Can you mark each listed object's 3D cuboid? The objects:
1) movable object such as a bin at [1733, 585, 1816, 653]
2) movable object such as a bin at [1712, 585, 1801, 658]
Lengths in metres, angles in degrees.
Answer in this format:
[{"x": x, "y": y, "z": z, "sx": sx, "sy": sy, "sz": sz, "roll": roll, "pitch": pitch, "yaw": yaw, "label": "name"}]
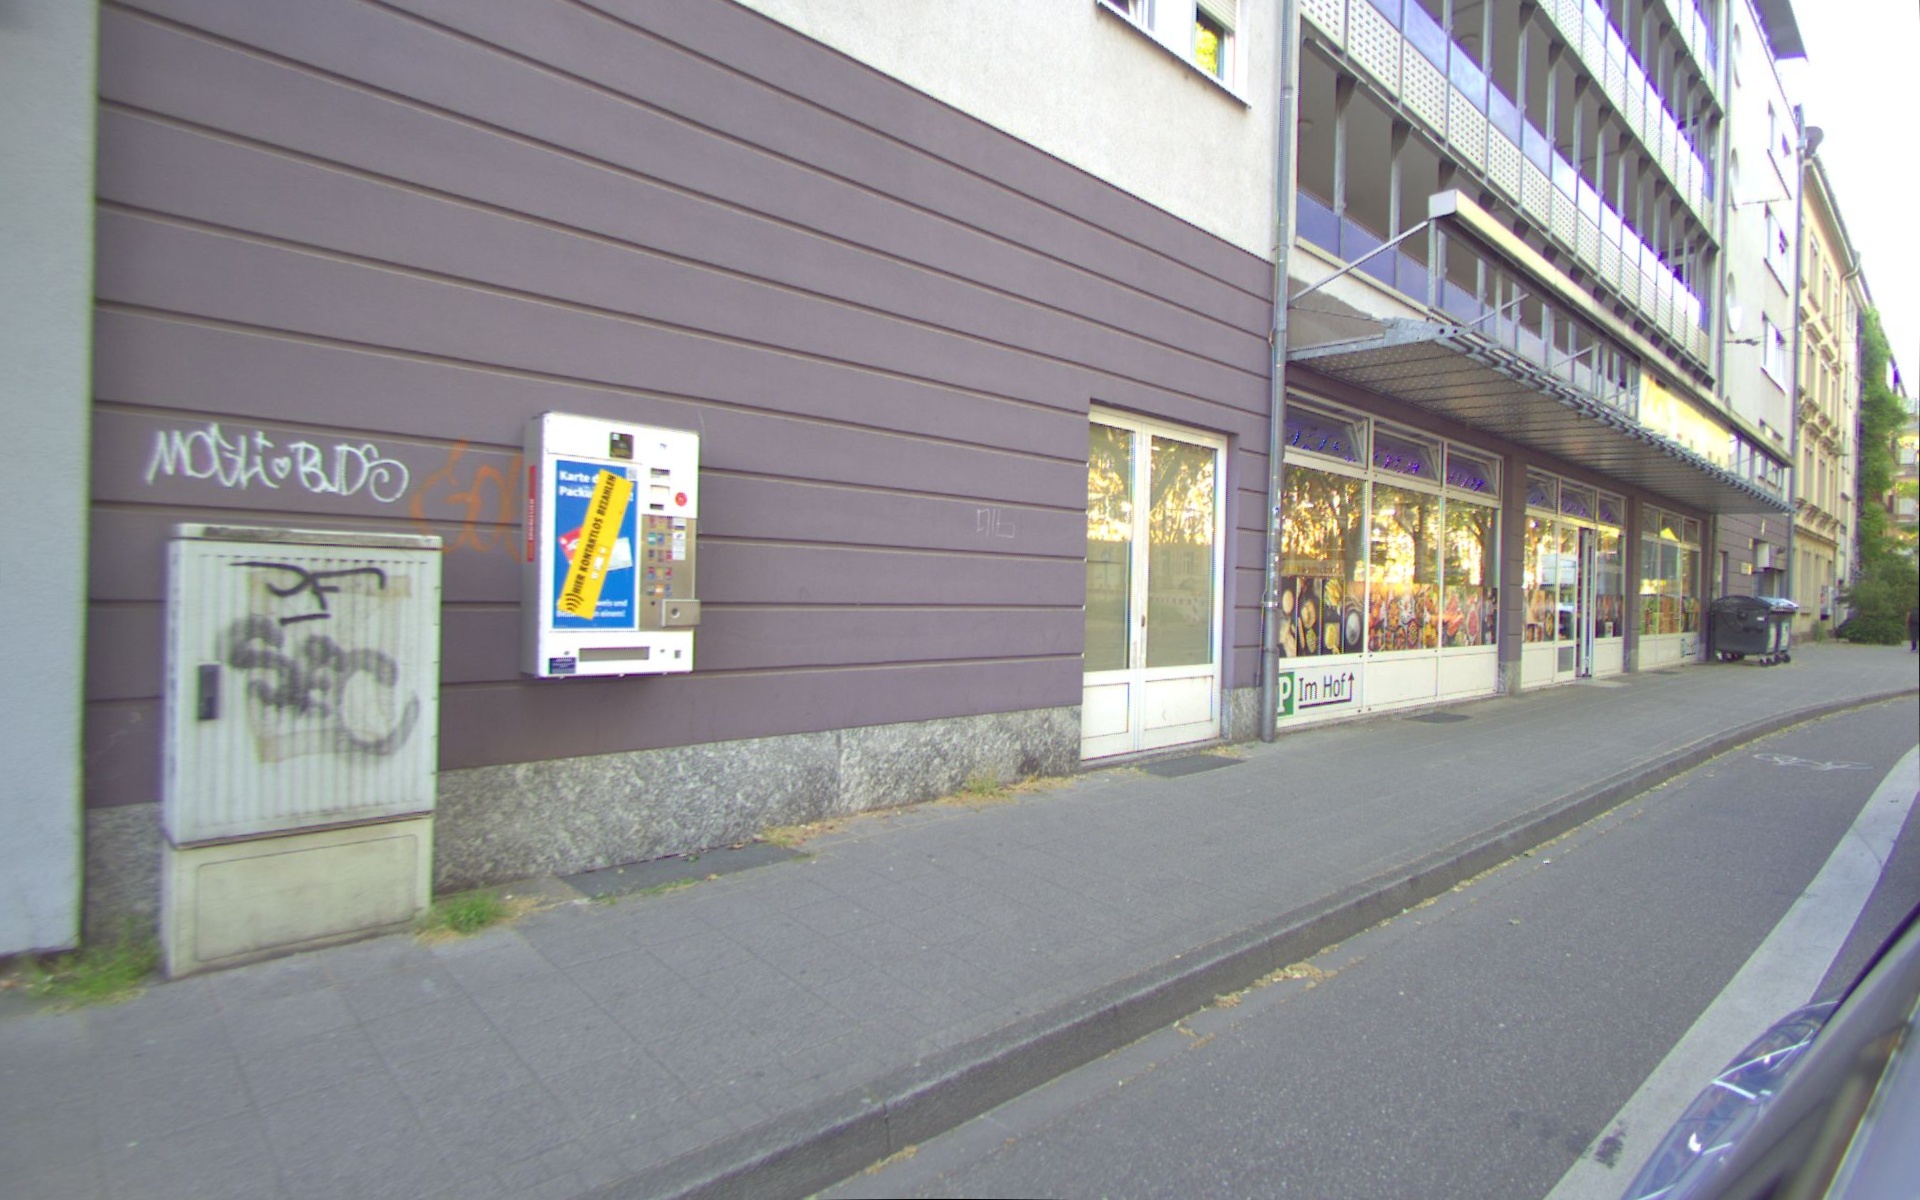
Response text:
[{"x": 18.049, "y": 0.397, "z": 22.425, "sx": 1.348, "sy": 1.427, "sz": 1.203, "roll": 0, "pitch": 1, "yaw": -41, "label": "movable object such as a bin"}, {"x": 16.601, "y": 0.423, "z": 21.095, "sx": 1.348, "sy": 1.427, "sz": 1.203, "roll": 0, "pitch": 1, "yaw": -41, "label": "movable object such as a bin"}]
